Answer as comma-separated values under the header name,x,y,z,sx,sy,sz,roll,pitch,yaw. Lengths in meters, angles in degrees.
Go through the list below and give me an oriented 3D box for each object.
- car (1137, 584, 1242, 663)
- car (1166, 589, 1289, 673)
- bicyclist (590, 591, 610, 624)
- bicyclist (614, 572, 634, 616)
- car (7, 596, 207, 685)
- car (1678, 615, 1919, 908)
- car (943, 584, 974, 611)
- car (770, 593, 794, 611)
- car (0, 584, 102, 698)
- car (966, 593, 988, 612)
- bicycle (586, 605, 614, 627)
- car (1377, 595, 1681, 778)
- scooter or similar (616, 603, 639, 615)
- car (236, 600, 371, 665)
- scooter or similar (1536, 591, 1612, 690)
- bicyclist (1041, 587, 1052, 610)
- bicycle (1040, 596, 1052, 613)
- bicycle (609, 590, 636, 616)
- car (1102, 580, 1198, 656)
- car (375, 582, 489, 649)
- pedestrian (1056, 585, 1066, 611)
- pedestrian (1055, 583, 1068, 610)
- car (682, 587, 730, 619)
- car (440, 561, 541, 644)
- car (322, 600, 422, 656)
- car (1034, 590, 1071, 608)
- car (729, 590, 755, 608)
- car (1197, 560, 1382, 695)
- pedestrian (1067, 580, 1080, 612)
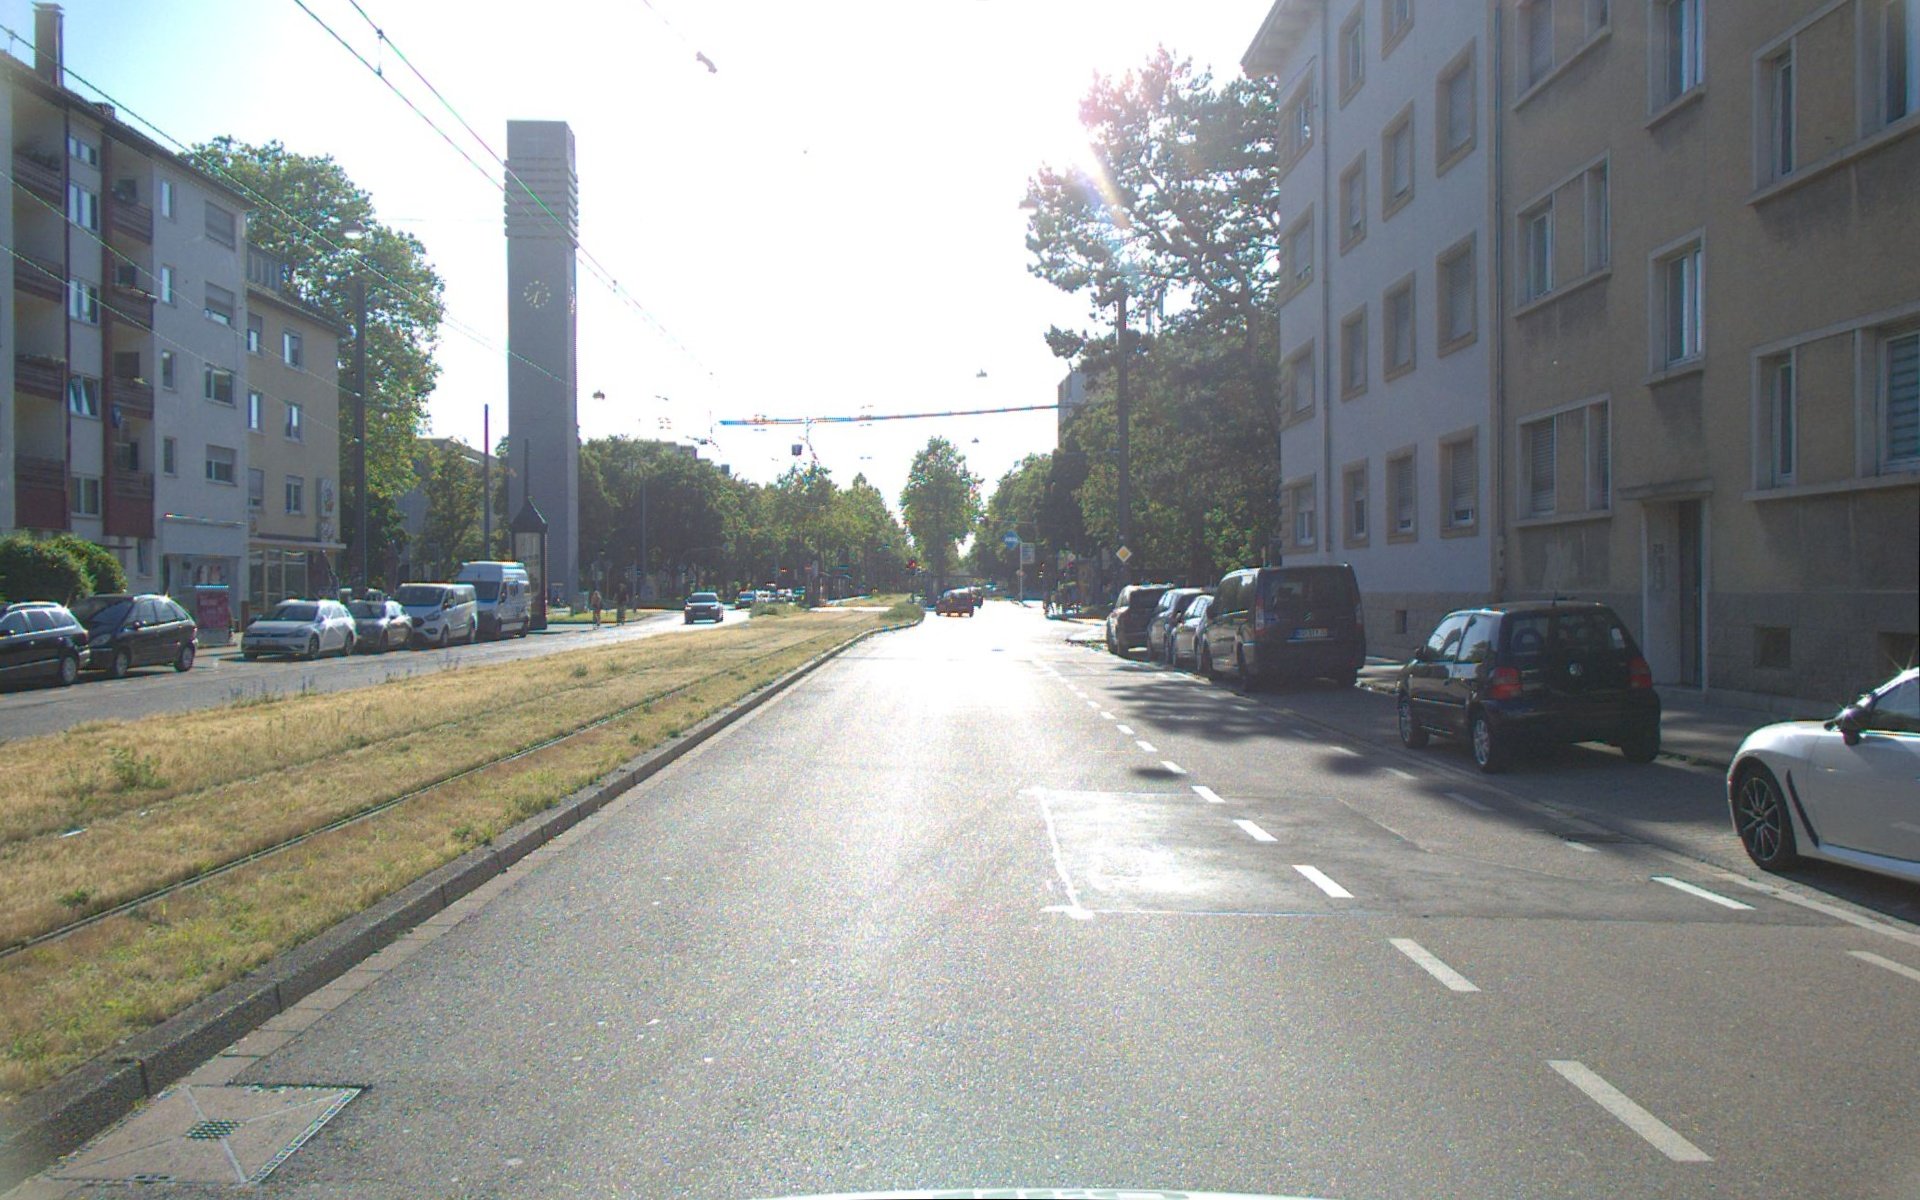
name,x,y,z,sx,sy,sz,roll,pitch,yaw
car,5.112,0.493,37.296,1.562,1.606,3.893,-2,0,-3
car,5.199,0.555,32.617,1.480,1.504,4.236,-2,0,-3
bicyclist,-15.818,0.331,72.659,0.757,1.408,0.648,-1,0,-1
bicyclist,-15.977,-0.298,78.730,0.757,2.049,0.648,2,0,-1
car,-17.483,0.779,34.145,1.953,1.635,4.150,2,0,-1
car,5.538,0.816,8.503,1.668,1.297,4.302,-4,1,-2
car,-0.124,-0.148,98.618,1.660,1.534,3.697,2,1,-3
car,-15.862,0.144,147.649,1.653,1.560,4.360,0,0,0
car,-17.359,0.692,29.237,1.953,1.870,4.609,2,0,-1
car,1.641,0.222,157.586,1.856,1.639,4.499,2,0,-2
bicycle,-15.832,0.693,72.736,0.752,0.895,2.069,-2,0,0
car,5.415,0.746,16.248,1.602,1.479,3.789,-3,1,-1
scooter or similar,-26.050,0.673,129.605,1.706,0.915,0.561,0,0,-17
car,-17.393,0.821,44.050,1.854,1.517,4.701,2,1,-3
scooter or similar,8.321,0.529,22.466,0.449,1.260,1.338,-4,0,0
bicyclist,5.220,-0.114,99.902,0.624,1.346,0.803,2,0,2
bicycle,5.201,0.260,99.953,0.634,0.989,1.804,2,0,2
bicycle,-16.111,0.136,79.036,0.752,1.166,2.474,-2,0,0
car,4.817,0.412,42.616,1.840,1.746,4.934,-3,0,0
car,-17.580,0.463,55.319,1.990,2.056,5.371,2,0,0
pedestrian,6.025,-0.104,98.688,0.518,1.555,0.628,-2,0,5
pedestrian,6.512,-0.222,105.951,0.714,1.711,0.533,2,0,12
car,-12.550,0.141,81.947,1.659,1.473,4.217,-1,1,0
car,-17.641,0.061,62.499,1.990,2.919,6.228,1,0,0
car,-17.467,0.791,49.317,1.661,1.541,4.324,1,0,-3
car,10.577,-0.115,189.027,3.902,1.892,2.013,2,0,10
car,-19.355,-0.079,146.890,1.770,1.560,4.360,0,0,-1
car,5.356,0.392,27.588,1.874,1.932,5.134,-3,0,-1
pedestrian,6.785,-0.230,98.585,0.688,1.821,0.694,-3,1,5
